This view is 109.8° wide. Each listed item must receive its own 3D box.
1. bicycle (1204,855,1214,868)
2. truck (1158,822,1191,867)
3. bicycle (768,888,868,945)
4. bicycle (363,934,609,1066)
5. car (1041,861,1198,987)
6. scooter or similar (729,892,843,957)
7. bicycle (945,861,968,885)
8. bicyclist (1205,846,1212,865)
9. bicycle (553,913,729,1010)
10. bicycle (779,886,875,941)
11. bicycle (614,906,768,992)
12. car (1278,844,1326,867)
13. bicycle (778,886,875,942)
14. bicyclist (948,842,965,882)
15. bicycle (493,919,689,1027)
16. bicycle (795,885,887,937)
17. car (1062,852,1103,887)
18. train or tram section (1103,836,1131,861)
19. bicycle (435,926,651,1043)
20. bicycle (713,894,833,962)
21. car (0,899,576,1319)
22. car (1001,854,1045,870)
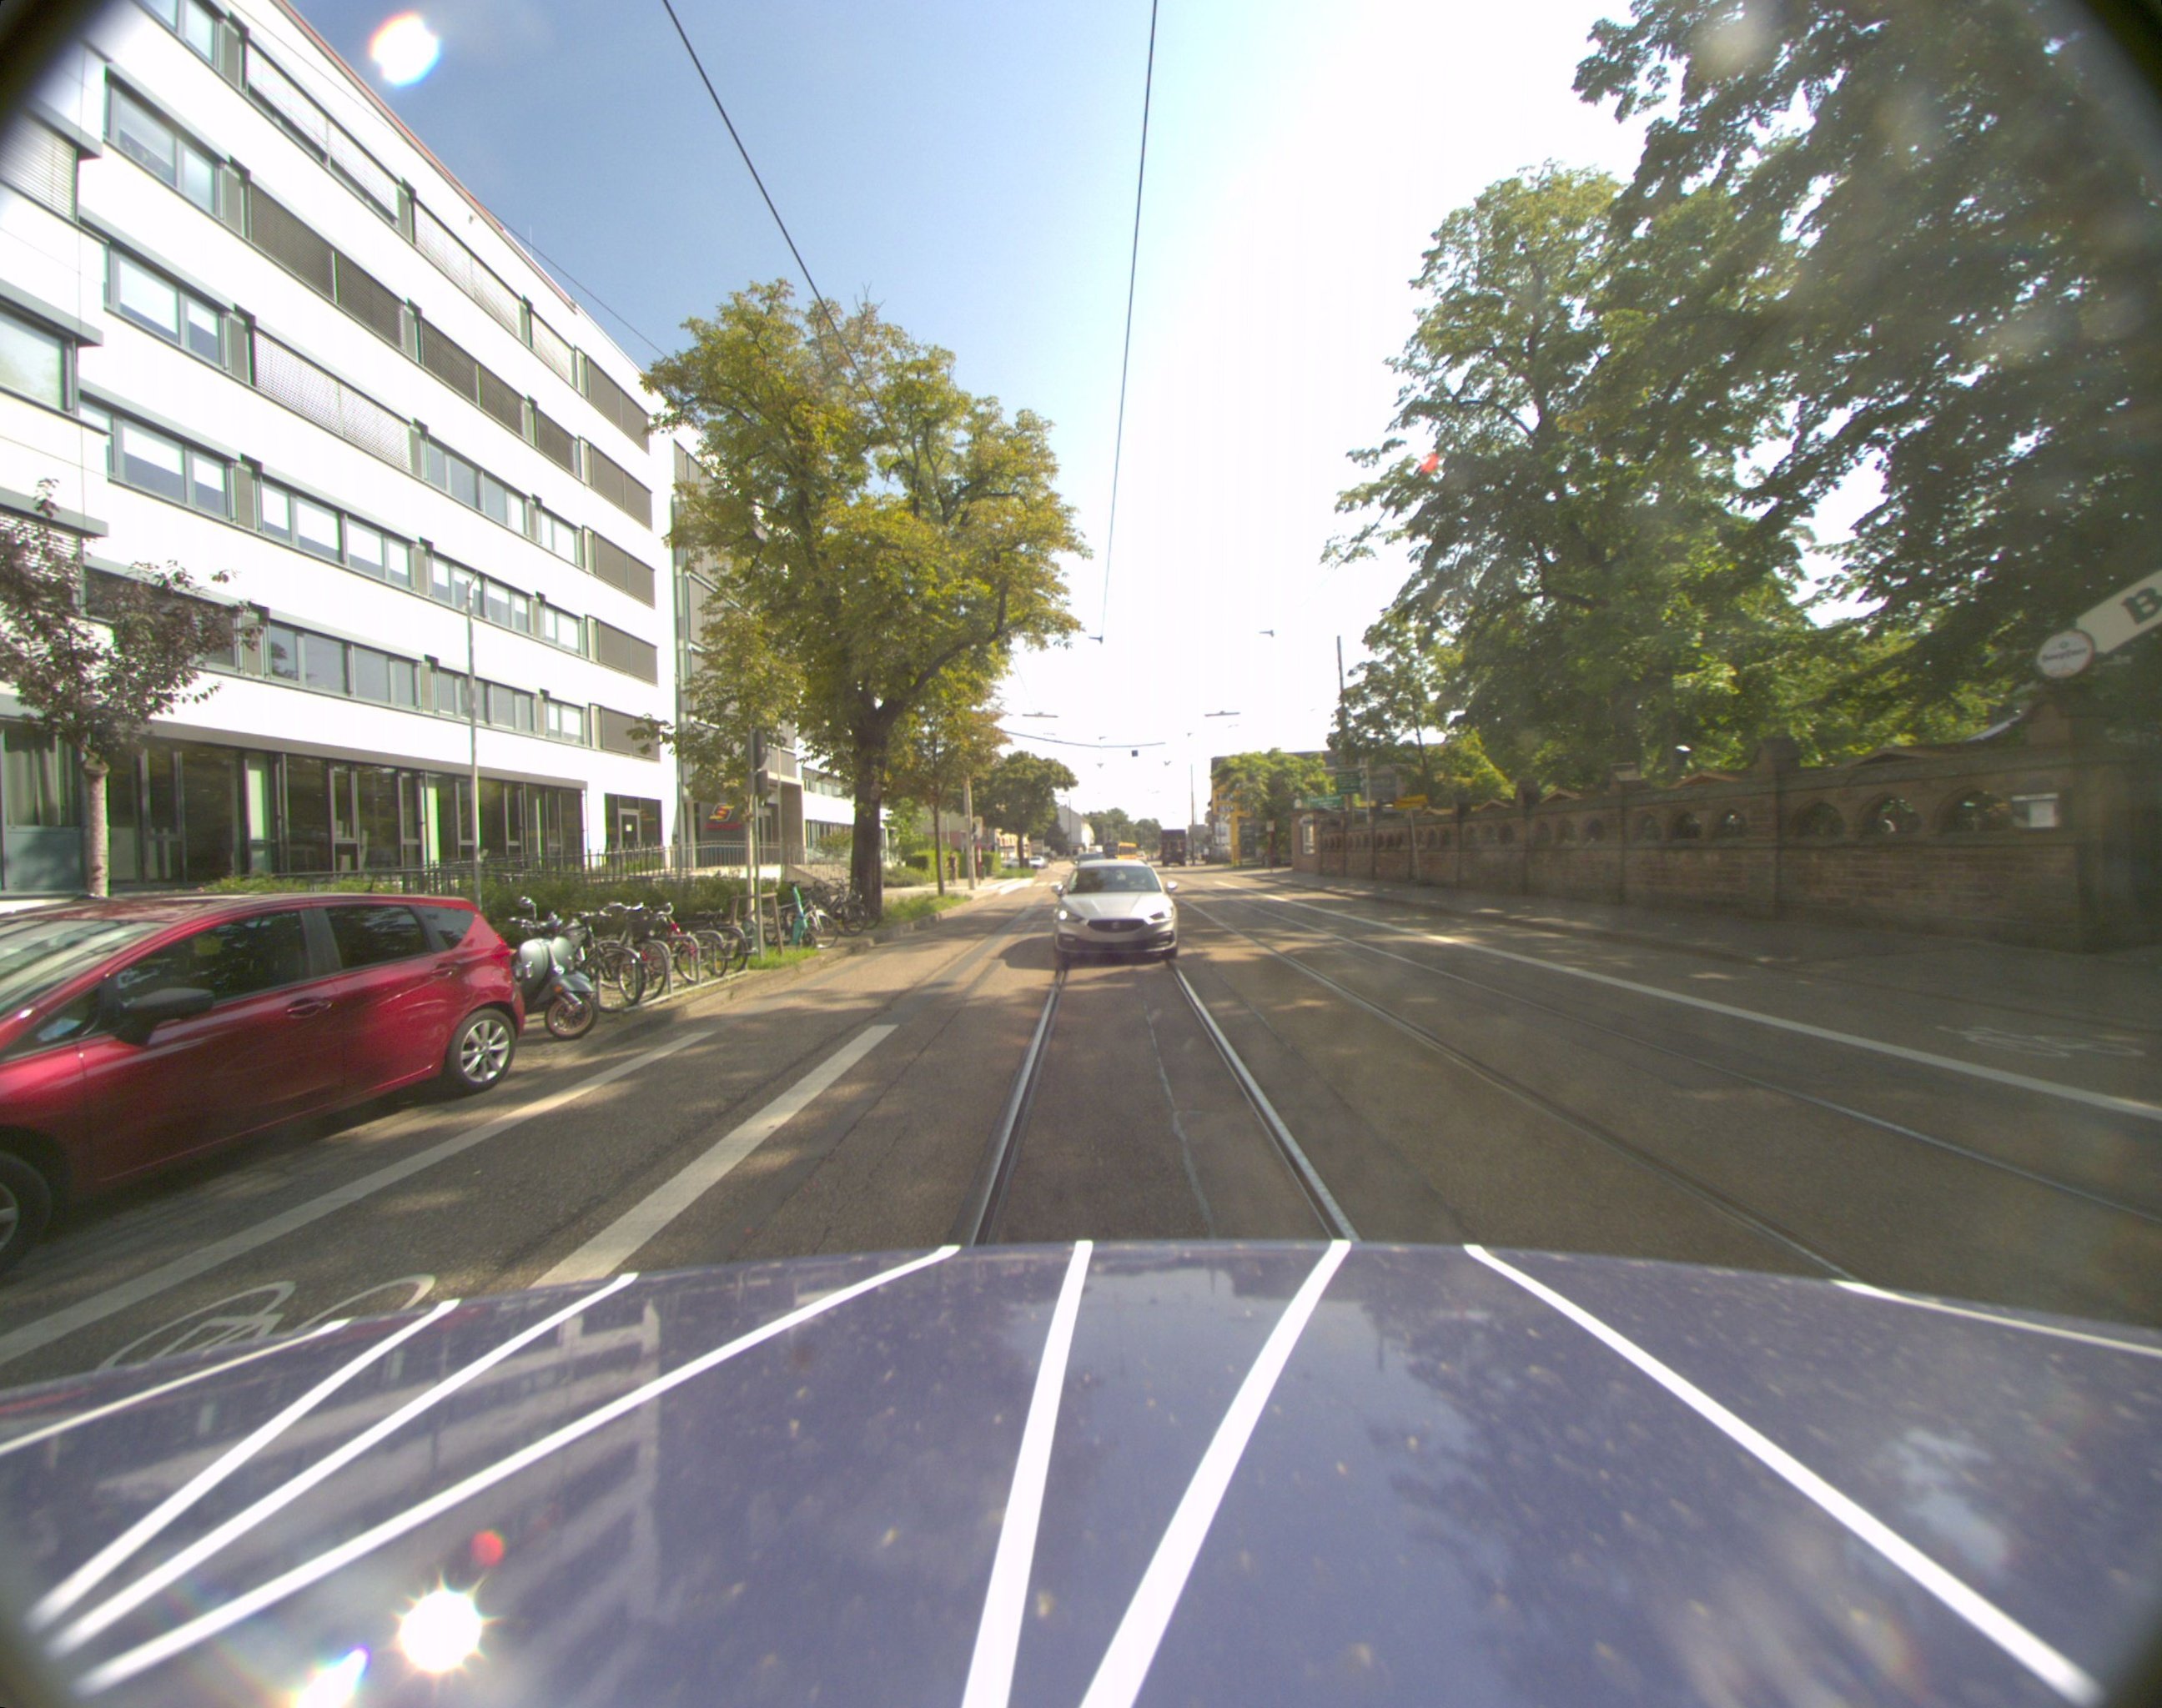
[{"bbox_3d":[13.124,0.764,77.876,0.787,1.232,2.036,-2,-2,12],"label":"bicycle"},{"bbox_3d":[10.609,-1.032,85.327,3.171,4.427,16.848,-2,1,8],"label":"truck"},{"bbox_3d":[-5.194,1.228,15.045,1.775,1.065,0.540,-1,1,1],"label":"bicycle"},{"bbox_3d":[-5.344,1.301,6.881,1.775,1.065,0.540,-1,1,1],"label":"bicycle"},{"bbox_3d":[0.539,0.908,11.983,1.928,1.465,4.817,-2,0,1],"label":"car"},{"bbox_3d":[-5.183,1.241,13.411,1.775,1.065,0.540,-1,1,1],"label":"scooter or similar"},{"bbox_3d":[-6.560,0.977,39.938,1.139,1.118,2.534,-2,1,-10],"label":"bicycle"},{"bbox_3d":[13.086,0.180,77.836,0.642,1.918,1.176,-2,1,12],"label":"bicyclist"},{"bbox_3d":[-5.262,1.279,9.140,1.775,1.065,0.540,-1,1,1],"label":"bicycle"},{"bbox_3d":[-5.208,1.224,15.646,1.775,1.065,0.540,-1,1,1],"label":"bicycle"},{"bbox_3d":[-5.230,1.269,10.241,1.775,1.065,0.540,-1,1,1],"label":"bicycle"},{"bbox_3d":[16.214,0.087,55.587,1.932,1.452,4.536,-2,1,36],"label":"car"},{"bbox_3d":[-5.220,1.224,15.625,1.775,1.065,0.540,-1,1,1],"label":"bicycle"},{"bbox_3d":[-6.549,0.421,39.808,0.783,2.002,1.273,-2,1,-10],"label":"bicyclist"},{"bbox_3d":[-5.337,1.289,8.330,1.775,1.065,0.540,-1,1,1],"label":"bicycle"},{"bbox_3d":[-5.141,1.216,16.341,1.775,1.065,0.540,-1,1,1],"label":"bicycle"},{"bbox_3d":[0.114,0.714,37.537,1.834,1.543,4.033,-2,1,1],"label":"car"},{"bbox_3d":[6.210,-0.973,129.819,4.111,3.711,24.380,-2,0,3],"label":"train or tram section"},{"bbox_3d":[-5.383,1.296,7.657,1.775,1.065,0.540,-1,1,1],"label":"bicycle"},{"bbox_3d":[-5.180,1.246,12.824,1.775,1.065,0.540,-1,1,1],"label":"bicycle"},{"bbox_3d":[-5.146,1.130,4.176,1.760,1.453,4.275,-1,0,2],"label":"car"},{"bbox_3d":[-6.138,0.865,81.124,4.552,1.506,1.960,-2,1,-3],"label":"car"}]
